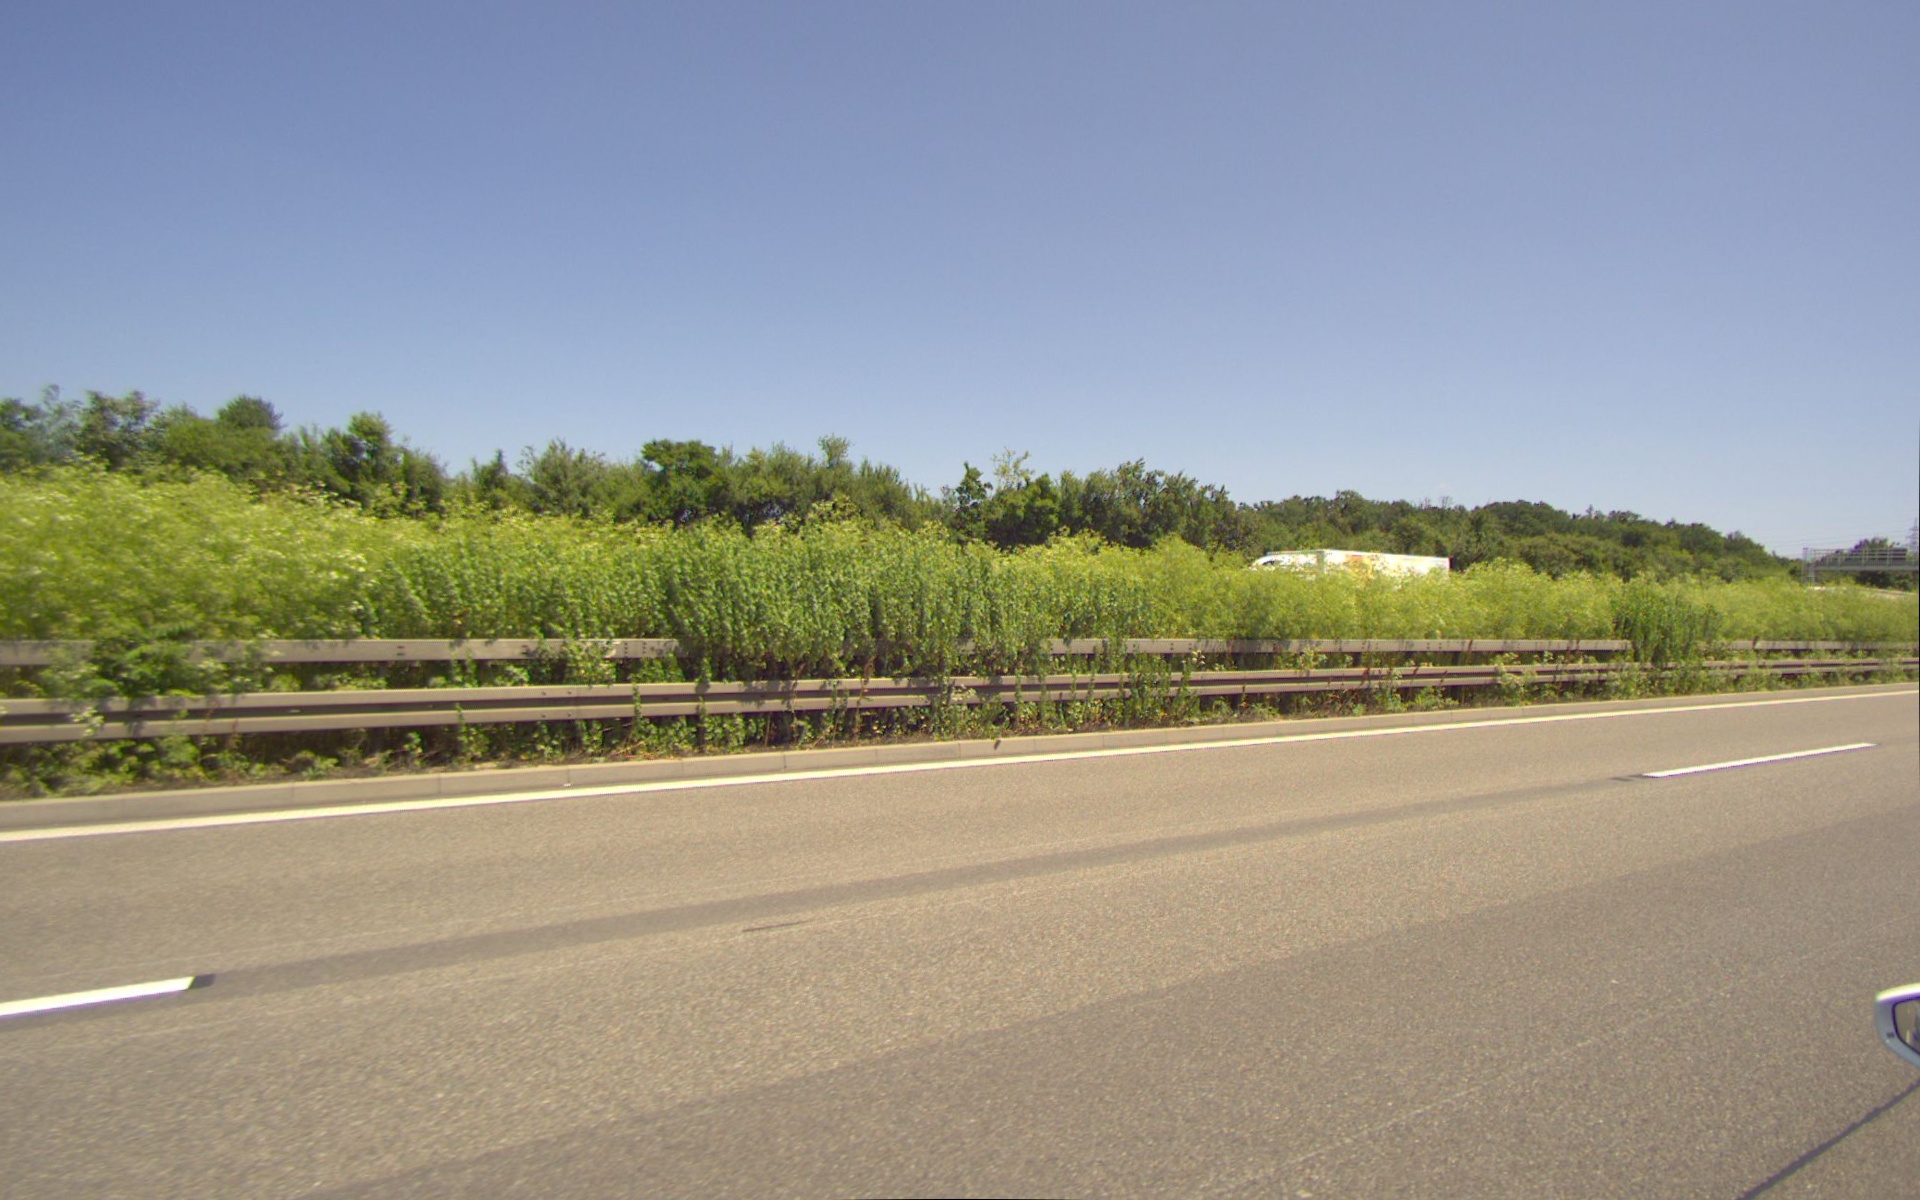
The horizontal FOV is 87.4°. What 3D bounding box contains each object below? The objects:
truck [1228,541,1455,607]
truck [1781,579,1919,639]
[{"bbox_3d":[14.074,-0.807,36.592,9.753,2.040,2.637,1,-1,-34],"label":"truck"},{"bbox_3d":[59.033,0.676,66.077,16.653,3.595,2.790,1,-2,-33],"label":"truck"}]
